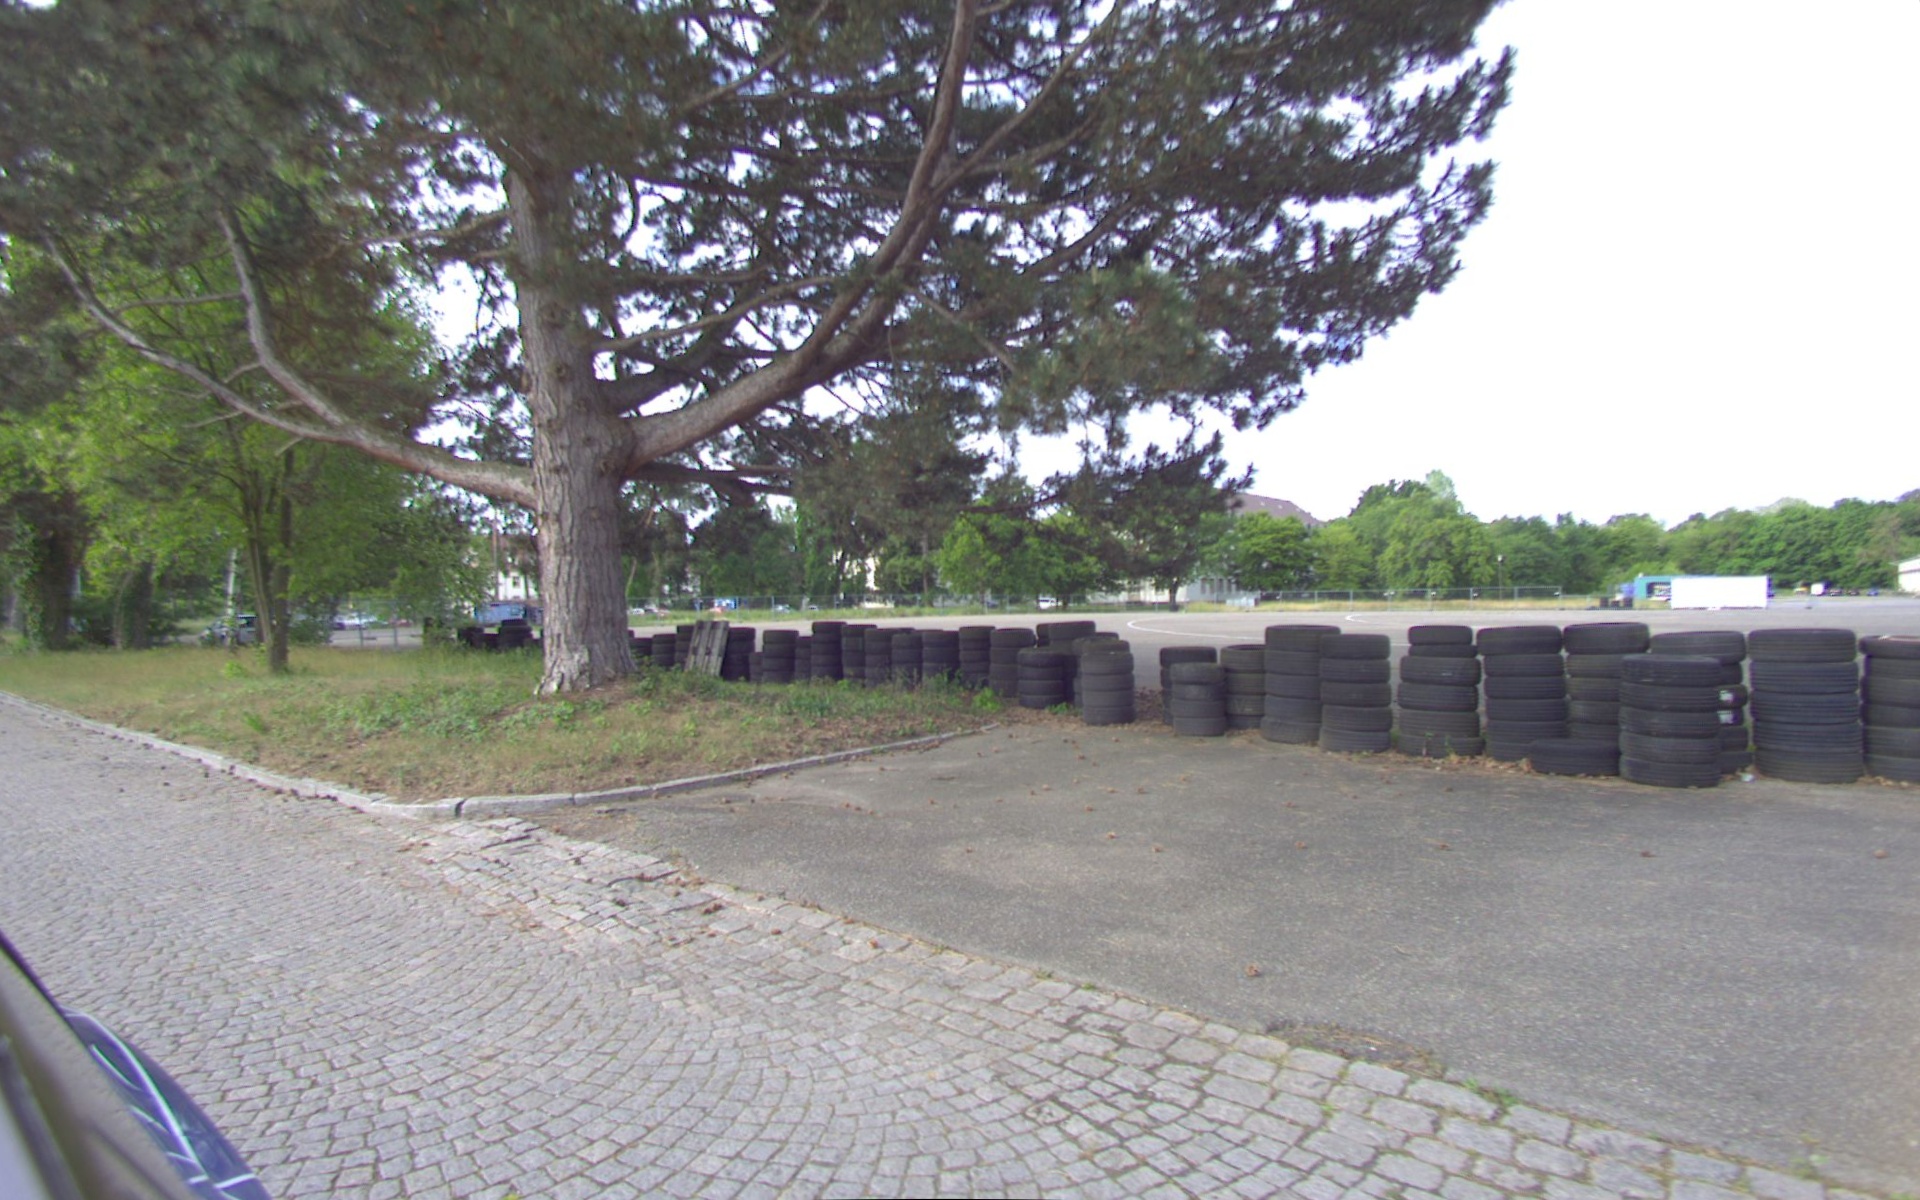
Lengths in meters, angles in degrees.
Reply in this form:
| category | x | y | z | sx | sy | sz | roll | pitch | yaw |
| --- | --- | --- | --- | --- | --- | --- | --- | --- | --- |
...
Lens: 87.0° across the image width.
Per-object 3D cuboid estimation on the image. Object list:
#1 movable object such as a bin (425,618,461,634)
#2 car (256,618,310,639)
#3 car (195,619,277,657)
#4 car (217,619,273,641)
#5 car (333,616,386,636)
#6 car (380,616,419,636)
| category | x | y | z | sx | sy | sz | roll | pitch | yaw |
| --- | --- | --- | --- | --- | --- | --- | --- | --- | --- |
| movable object such as a bin | -36.613 | 1.867 | 71.678 | 2.712 | 1.079 | 1.046 | -1 | 0 | 32 |
| car | -49.968 | 2.088 | 74.629 | 4.445 | 1.460 | 1.975 | -1 | 0 | 37 |
| car | -28.943 | 1.493 | 40.427 | 3.718 | 1.421 | 1.650 | -1 | 0 | 38 |
| car | -51.182 | 2.123 | 72.412 | 4.445 | 1.460 | 1.975 | -1 | 0 | 37 |
| car | -47.004 | 2.008 | 79.192 | 4.445 | 1.460 | 1.975 | -1 | 0 | 37 |
| car | -50.419 | 2.366 | 90.954 | 3.796 | 1.696 | 1.593 | -1 | 0 | 35 |
